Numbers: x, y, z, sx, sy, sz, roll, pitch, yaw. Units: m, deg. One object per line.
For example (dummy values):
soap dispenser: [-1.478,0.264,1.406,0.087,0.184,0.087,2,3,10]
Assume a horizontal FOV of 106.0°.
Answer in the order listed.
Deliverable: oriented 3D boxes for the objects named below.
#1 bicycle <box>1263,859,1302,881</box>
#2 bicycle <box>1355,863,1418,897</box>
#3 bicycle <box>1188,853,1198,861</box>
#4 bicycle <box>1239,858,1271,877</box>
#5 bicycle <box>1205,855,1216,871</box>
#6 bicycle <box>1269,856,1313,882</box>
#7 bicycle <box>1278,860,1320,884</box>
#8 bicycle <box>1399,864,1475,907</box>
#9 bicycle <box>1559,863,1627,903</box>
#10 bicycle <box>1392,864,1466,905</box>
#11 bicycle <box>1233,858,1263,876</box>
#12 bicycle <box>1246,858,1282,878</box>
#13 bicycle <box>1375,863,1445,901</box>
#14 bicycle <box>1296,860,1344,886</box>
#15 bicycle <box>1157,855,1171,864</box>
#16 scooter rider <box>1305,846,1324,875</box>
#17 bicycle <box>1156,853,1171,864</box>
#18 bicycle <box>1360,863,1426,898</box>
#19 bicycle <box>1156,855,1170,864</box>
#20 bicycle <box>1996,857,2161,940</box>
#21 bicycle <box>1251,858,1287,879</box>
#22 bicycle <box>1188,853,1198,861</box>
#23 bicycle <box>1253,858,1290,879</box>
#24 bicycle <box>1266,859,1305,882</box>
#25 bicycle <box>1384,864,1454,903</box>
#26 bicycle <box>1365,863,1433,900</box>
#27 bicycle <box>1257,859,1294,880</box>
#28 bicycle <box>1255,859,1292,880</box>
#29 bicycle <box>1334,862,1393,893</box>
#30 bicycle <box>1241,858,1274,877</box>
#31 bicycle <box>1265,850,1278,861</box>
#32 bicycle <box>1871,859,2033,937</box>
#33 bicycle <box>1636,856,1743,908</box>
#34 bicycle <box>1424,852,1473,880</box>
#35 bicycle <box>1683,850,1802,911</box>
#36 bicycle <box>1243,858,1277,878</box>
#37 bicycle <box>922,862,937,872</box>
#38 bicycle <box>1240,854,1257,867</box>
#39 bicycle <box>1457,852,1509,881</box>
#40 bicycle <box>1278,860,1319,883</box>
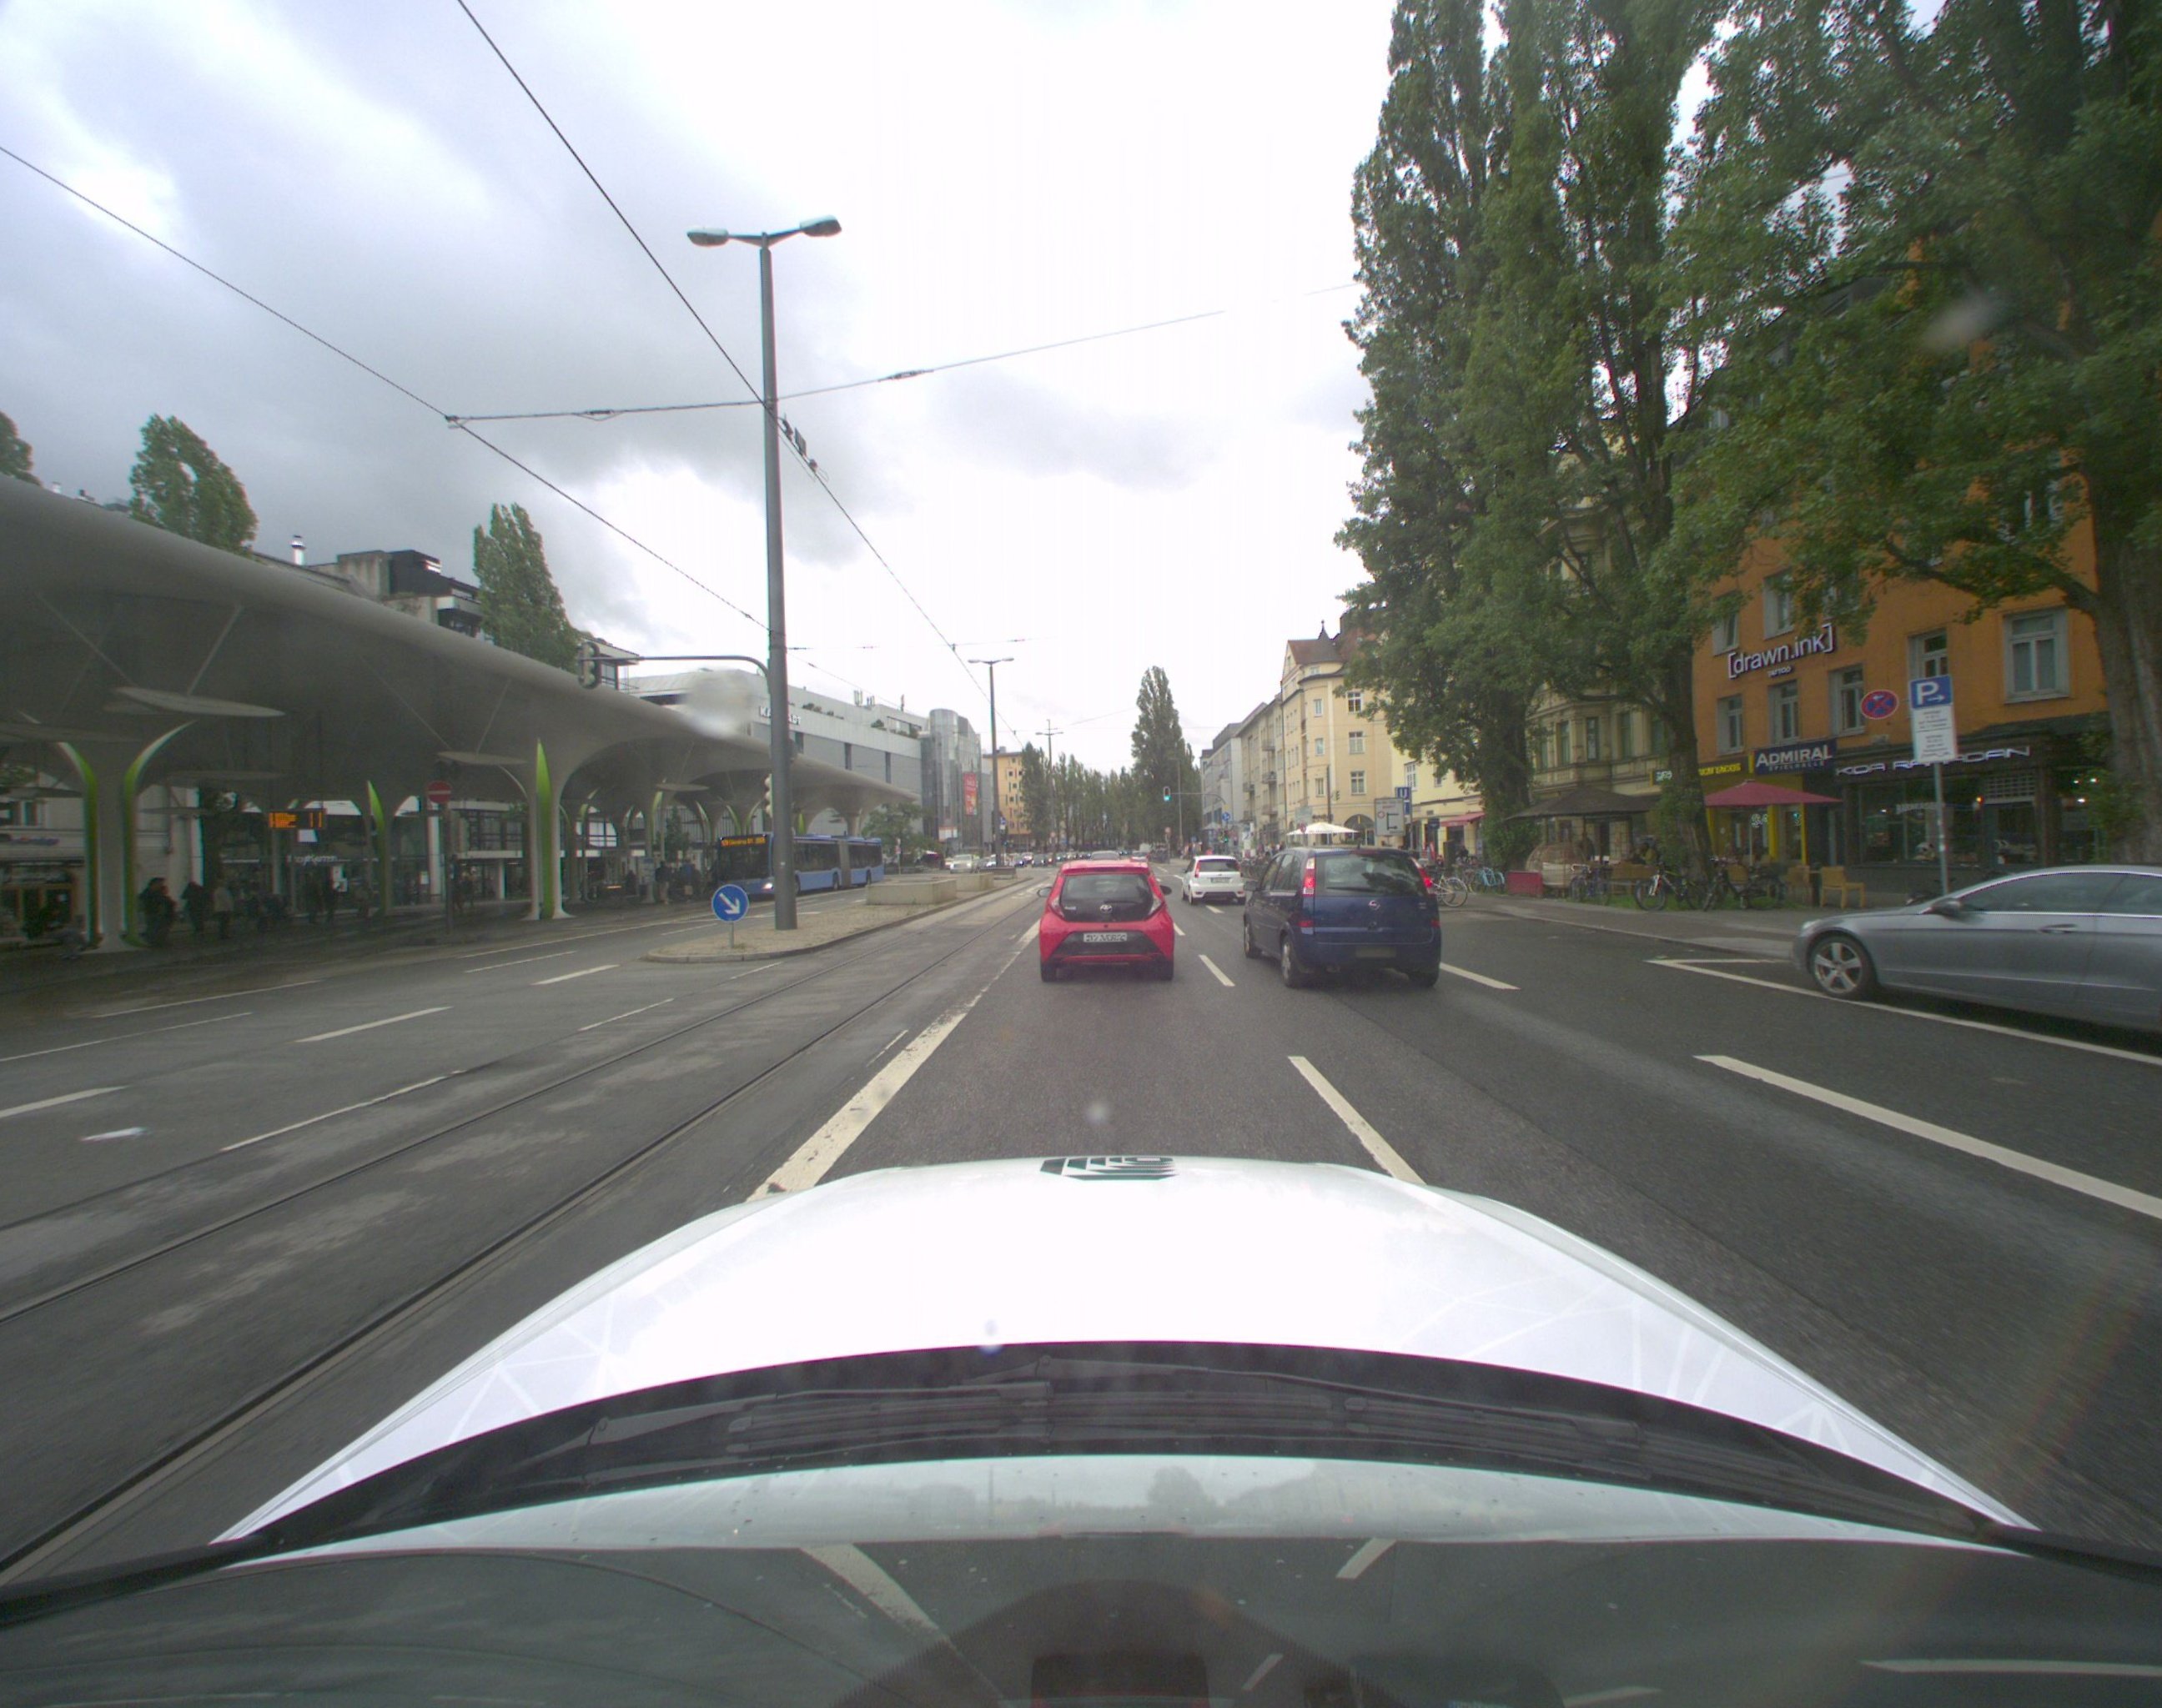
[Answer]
bicycle: [9.495,0.767,38.416,0.350,0.996,1.819,-2,-1,-44]
bicycle: [9.342,0.775,24.984,0.377,0.995,1.819,-2,2,-44]
bicycle: [14.218,0.375,103.131,1.175,0.963,0.370,-2,0,6]
bicycle: [9.681,0.746,45.288,0.350,0.996,1.819,-2,-1,-45]
bicycle: [11.168,0.761,70.215,0.611,1.265,2.521,-2,0,3]
bicycle: [9.526,0.703,36.938,1.818,1.112,0.470,-2,0,34]
bicycle: [9.514,0.776,35.608,1.819,0.995,0.327,0,2,42]
bicycle: [9.077,0.787,20.834,0.377,0.995,1.821,-2,2,-37]
bicycle: [12.390,0.687,19.782,0.455,0.892,1.894,-2,0,1]
bicycle: [9.146,0.785,21.474,0.377,0.995,1.821,-2,2,-37]
bicycle: [9.879,0.757,48.216,0.350,0.996,1.819,-2,-1,-44]
bicycle: [9.560,0.754,42.599,1.818,0.996,0.350,-3,-1,41]
bicycle: [9.243,0.781,22.931,0.377,0.995,1.820,-2,2,-43]
bicycle: [9.568,0.751,32.656,1.818,0.995,0.327,0,2,38]
bicycle: [9.252,0.601,90.488,0.502,1.028,1.582,-2,0,-40]
scooter rider: [11.605,0.304,40.503,0.698,1.389,0.643,-2,0,0]
bicycle: [9.311,0.505,92.004,0.562,1.198,1.782,-2,0,-45]
bicycle: [9.315,0.777,24.362,1.818,0.995,0.378,0,2,40]
bicycle: [9.208,0.597,91.346,0.502,1.028,1.582,-2,0,-40]
bicycle: [14.581,0.638,11.913,1.882,1.113,0.458,-2,0,-1]
bicycle: [9.628,0.757,41.789,1.818,0.996,0.350,-3,-1,41]
bicycle: [14.233,0.355,103.674,1.177,0.963,0.369,-2,0,0]
bicycle: [9.608,0.759,41.134,1.818,0.996,0.350,-3,-1,41]
bicycle: [9.425,0.770,37.643,0.327,0.996,1.819,-2,0,-44]
bicycle: [9.195,0.783,22.238,0.377,0.995,1.821,-2,2,-37]
bicycle: [9.231,0.779,23.682,1.819,0.995,0.377,0,2,44]
bicycle: [9.497,0.763,39.771,0.350,0.996,1.819,-2,-1,-44]
bicycle: [9.550,0.761,40.488,0.350,0.996,1.819,-2,-1,-44]
bicycle: [9.402,0.769,27.106,1.818,0.995,0.378,0,2,39]
bicycle: [9.658,0.748,44.623,0.350,0.996,1.819,-2,-1,-45]
bicycle: [19.142,0.127,81.995,0.495,1.059,1.858,-2,0,-13]
bicycle: [12.717,0.636,11.910,1.882,1.054,0.458,-2,0,-1]
bicycle: [13.054,0.597,17.487,1.879,1.054,0.459,-2,0,3]
bicycle: [14.205,0.454,31.481,1.719,1.045,0.387,-1,1,-5]
bicycle: [13.522,0.534,16.668,1.879,1.174,0.582,-2,0,3]
bicycle: [9.639,0.750,43.936,1.818,0.996,0.350,-3,-1,41]
bicycle: [-17.716,1.563,95.164,1.566,1.112,0.374,-2,0,5]
bicycle: [15.880,0.648,77.232,1.561,1.160,0.525,-3,2,4]
bicycle: [15.089,0.458,30.603,1.711,1.045,0.389,-1,1,12]
bicycle: [9.647,0.774,36.181,1.819,0.995,0.327,0,2,42]
